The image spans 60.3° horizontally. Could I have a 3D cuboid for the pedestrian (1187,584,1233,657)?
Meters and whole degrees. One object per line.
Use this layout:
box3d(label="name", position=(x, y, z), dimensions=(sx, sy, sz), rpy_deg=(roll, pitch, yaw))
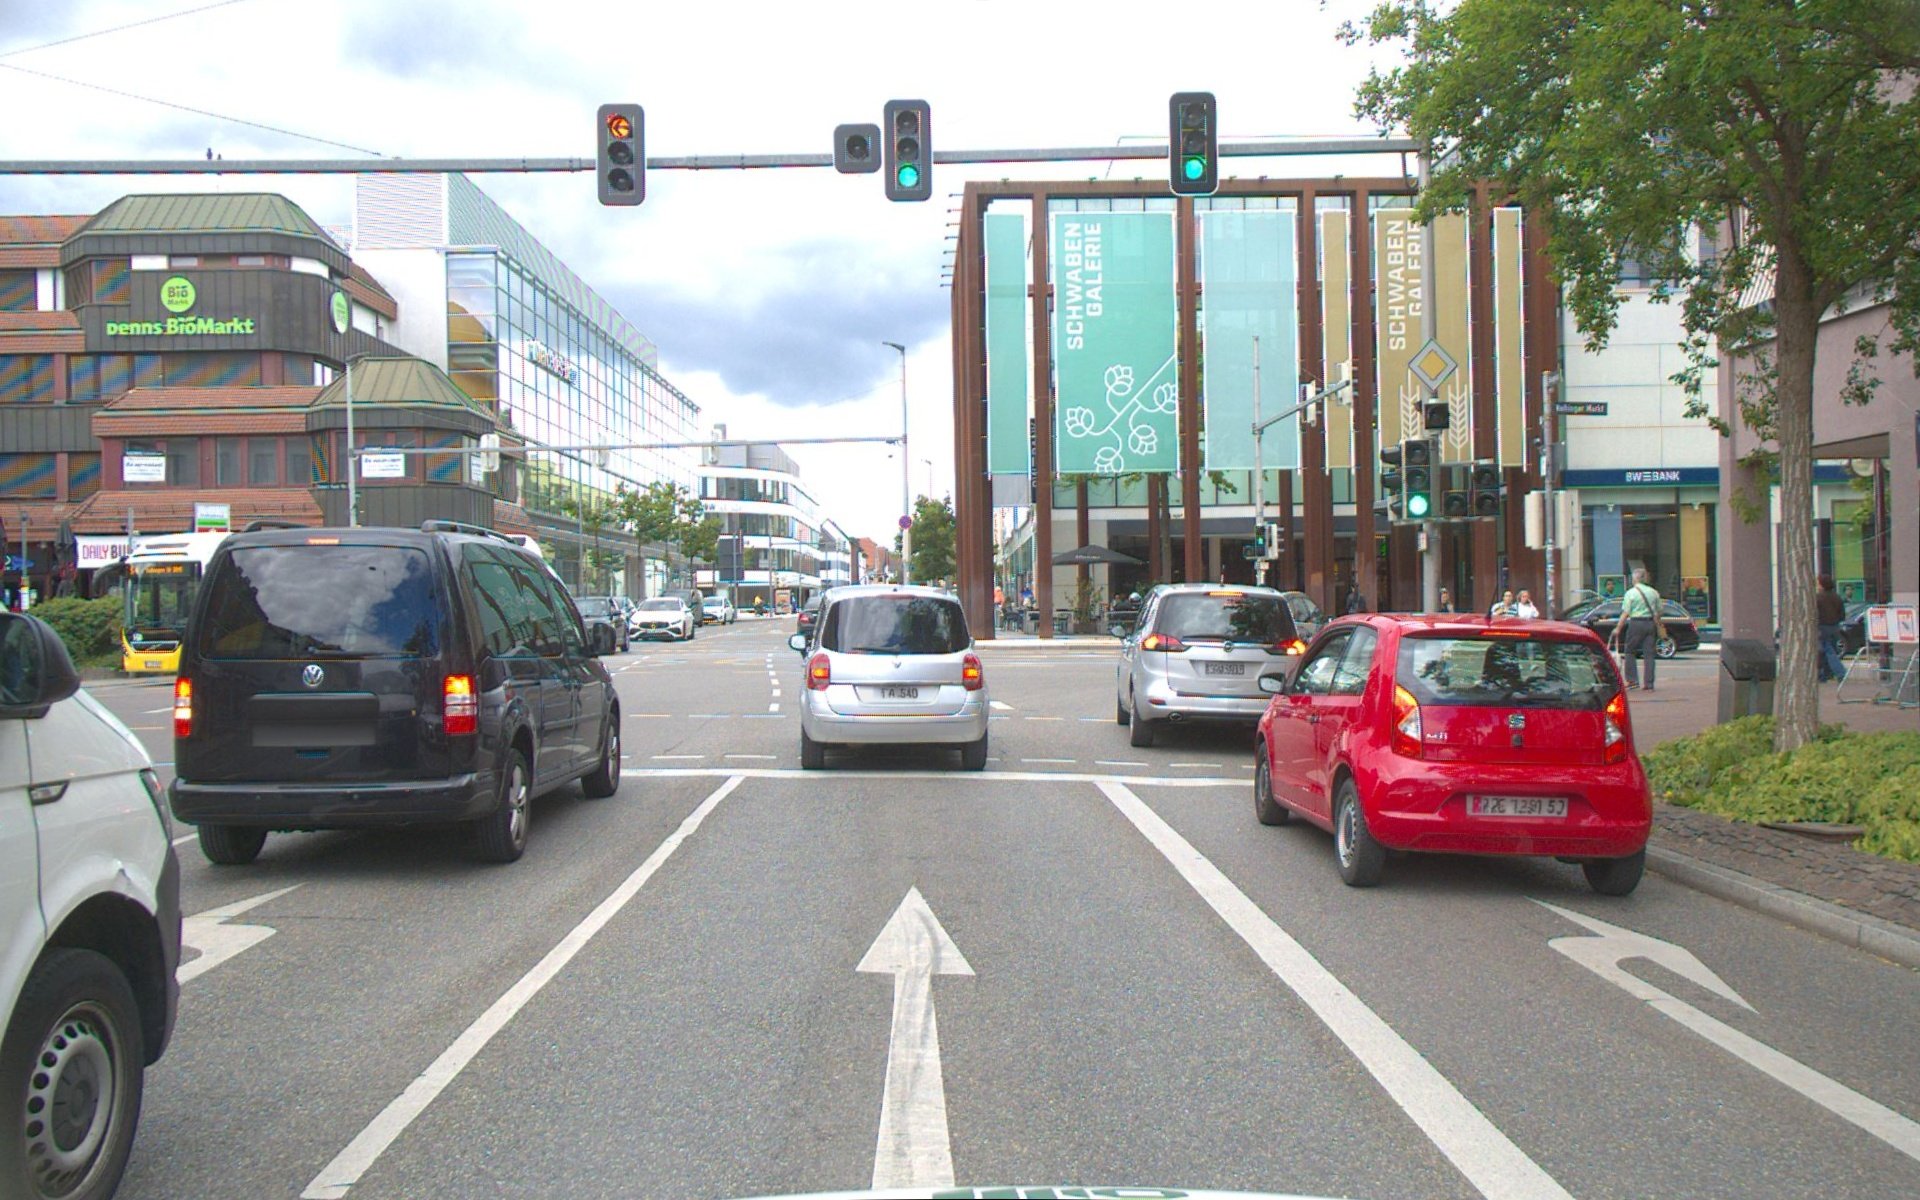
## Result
box3d(label="pedestrian", position=(6.000, 0.485, 39.720), dimensions=(0.861, 1.711, 1.119), rpy_deg=(-1, 0, -4))

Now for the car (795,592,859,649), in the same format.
box3d(label="car", position=(-3.870, 0.567, 48.562), dimensions=(1.636, 1.581, 3.641), rpy_deg=(1, 0, -1))

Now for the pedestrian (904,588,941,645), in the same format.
box3d(label="pedestrian", position=(-1.101, 0.488, 49.093), dimensions=(0.854, 1.675, 0.678), rpy_deg=(0, 0, 33))

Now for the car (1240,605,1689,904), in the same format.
box3d(label="car", position=(2.878, 0.793, 10.239), dimensions=(1.593, 1.473, 3.641), rpy_deg=(1, 0, -1))

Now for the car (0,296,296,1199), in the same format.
box3d(label="car", position=(-2.812, 0.429, 2.199), dimensions=(1.953, 2.049, 4.839), rpy_deg=(1, 0, -1))

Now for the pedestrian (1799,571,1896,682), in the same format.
box3d(label="pedestrian", position=(13.232, 0.379, 24.674), dimensions=(0.814, 1.612, 1.057), rpy_deg=(0, 0, -6))

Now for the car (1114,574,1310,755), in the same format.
box3d(label="car", position=(2.663, 0.629, 18.333), dimensions=(1.703, 1.730, 4.382), rpy_deg=(1, 0, 3))

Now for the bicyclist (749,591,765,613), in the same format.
box3d(label="bicyclist", position=(-15.880, 0.171, 129.332), dimensions=(0.995, 1.689, 0.924), rpy_deg=(2, -1, -29))

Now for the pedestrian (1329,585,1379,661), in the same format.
box3d(label="pedestrian", position=(9.437, 0.543, 39.661), dimensions=(0.861, 1.798, 1.119), rpy_deg=(-1, 0, -4))

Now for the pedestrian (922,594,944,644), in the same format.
box3d(label="pedestrian", position=(-0.778, 0.539, 47.864), dimensions=(0.589, 1.445, 0.582), rpy_deg=(-1, 0, 1))

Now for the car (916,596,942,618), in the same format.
box3d(label="car", position=(-2.257, 0.530, 121.732), dimensions=(1.839, 1.535, 3.999), rpy_deg=(1, 0, -1))

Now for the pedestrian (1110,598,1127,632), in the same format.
box3d(label="pedestrian", position=(5.897, 0.569, 61.711), dimensions=(0.505, 1.229, 0.795), rpy_deg=(-1, 1, -3))

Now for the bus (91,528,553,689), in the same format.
box3d(label="bus", position=(-15.456, 0.040, 41.877), dimensions=(2.927, 3.385, 12.302), rpy_deg=(-3, 0, 24))

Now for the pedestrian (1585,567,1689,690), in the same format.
box3d(label="pedestrian", position=(9.870, 0.405, 24.147), dimensions=(1.034, 1.745, 1.109), rpy_deg=(0, 0, -2))

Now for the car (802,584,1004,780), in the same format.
box3d(label="car", position=(-0.503, 0.674, 15.458), dimensions=(1.636, 1.581, 3.641), rpy_deg=(1, 0, -1))

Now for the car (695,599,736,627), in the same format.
box3d(label="car", position=(-13.401, 0.694, 90.812), dimensions=(1.626, 1.491, 3.999), rpy_deg=(-2, 0, -1))

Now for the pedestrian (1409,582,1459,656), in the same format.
box3d(label="pedestrian", position=(11.792, 0.460, 41.186), dimensions=(0.861, 1.798, 1.119), rpy_deg=(-1, 0, -4))

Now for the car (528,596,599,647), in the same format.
box3d(label="car", position=(-13.232, 0.690, 55.406), dimensions=(1.603, 1.442, 4.196), rpy_deg=(-3, 2, -4))

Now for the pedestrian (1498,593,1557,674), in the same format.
box3d(label="pedestrian", position=(11.647, 0.675, 33.975), dimensions=(0.805, 1.623, 1.038), rpy_deg=(0, 0, -5))

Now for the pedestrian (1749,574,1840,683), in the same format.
box3d(label="pedestrian", position=(12.393, 0.415, 24.579), dimensions=(0.814, 1.586, 0.968), rpy_deg=(0, 0, -5))

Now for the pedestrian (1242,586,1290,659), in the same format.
box3d(label="pedestrian", position=(7.362, 0.531, 39.840), dimensions=(0.861, 1.711, 1.119), rpy_deg=(-1, 0, -4))

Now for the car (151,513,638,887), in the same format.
box3d(label="car", position=(-3.285, 0.501, 10.610), dimensions=(1.673, 1.852, 4.569), rpy_deg=(1, 0, -2))

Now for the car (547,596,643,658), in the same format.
box3d(label="car", position=(-9.456, 0.671, 43.110), dimensions=(1.709, 1.484, 3.817), rpy_deg=(-2, 0, -1))

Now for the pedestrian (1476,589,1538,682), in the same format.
box3d(label="pedestrian", position=(9.918, 0.628, 30.008), dimensions=(0.727, 1.654, 0.953), rpy_deg=(-1, 0, -5))

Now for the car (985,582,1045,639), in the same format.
box3d(label="car", position=(1.750, 0.324, 53.669), dimensions=(1.704, 1.730, 4.380), rpy_deg=(1, 0, -1))

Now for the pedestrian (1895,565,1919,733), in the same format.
box3d(label="pedestrian", position=(9.864, 0.473, 16.146), dimensions=(0.792, 1.654, 1.093), rpy_deg=(-1, 0, -4))

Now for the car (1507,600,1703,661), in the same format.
box3d(label="car", position=(15.620, 0.734, 40.167), dimensions=(4.090, 1.428, 1.799), rpy_deg=(0, 0, -4))

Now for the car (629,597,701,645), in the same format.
box3d(label="car", position=(-9.780, 0.668, 55.073), dimensions=(1.709, 1.484, 4.234), rpy_deg=(-2, 0, -1))

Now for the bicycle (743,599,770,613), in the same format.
box3d(label="bicycle", position=(-15.960, 0.482, 129.462), dimensions=(0.995, 1.036, 3.100), rpy_deg=(2, 0, -28))

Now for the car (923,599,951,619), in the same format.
box3d(label="car", position=(-1.591, 0.613, 115.007), dimensions=(1.839, 1.358, 3.999), rpy_deg=(1, 0, -1))

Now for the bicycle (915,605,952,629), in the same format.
box3d(label="bicycle", position=(-1.134, 0.732, 70.730), dimensions=(1.528, 1.010, 0.752), rpy_deg=(-1, 0, 2))

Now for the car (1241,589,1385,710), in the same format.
box3d(label="car", position=(5.522, 0.679, 25.433), dimensions=(1.812, 1.637, 4.864), rpy_deg=(1, 0, 16))

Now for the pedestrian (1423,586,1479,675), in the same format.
box3d(label="pedestrian", position=(9.394, 0.571, 31.669), dimensions=(0.727, 1.654, 0.953), rpy_deg=(-1, 0, -5))

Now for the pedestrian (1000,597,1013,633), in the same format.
box3d(label="pedestrian", position=(1.598, 0.530, 57.265), dimensions=(0.438, 1.241, 0.606), rpy_deg=(-1, 0, 1))

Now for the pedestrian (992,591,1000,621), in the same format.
box3d(label="pedestrian", position=(1.922, 0.310, 88.402), dimensions=(0.418, 1.576, 0.481), rpy_deg=(-1, 0, -3))

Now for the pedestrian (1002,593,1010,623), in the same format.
box3d(label="pedestrian", position=(2.458, 0.430, 88.488), dimensions=(0.418, 1.576, 0.481), rpy_deg=(-1, 0, -3))
